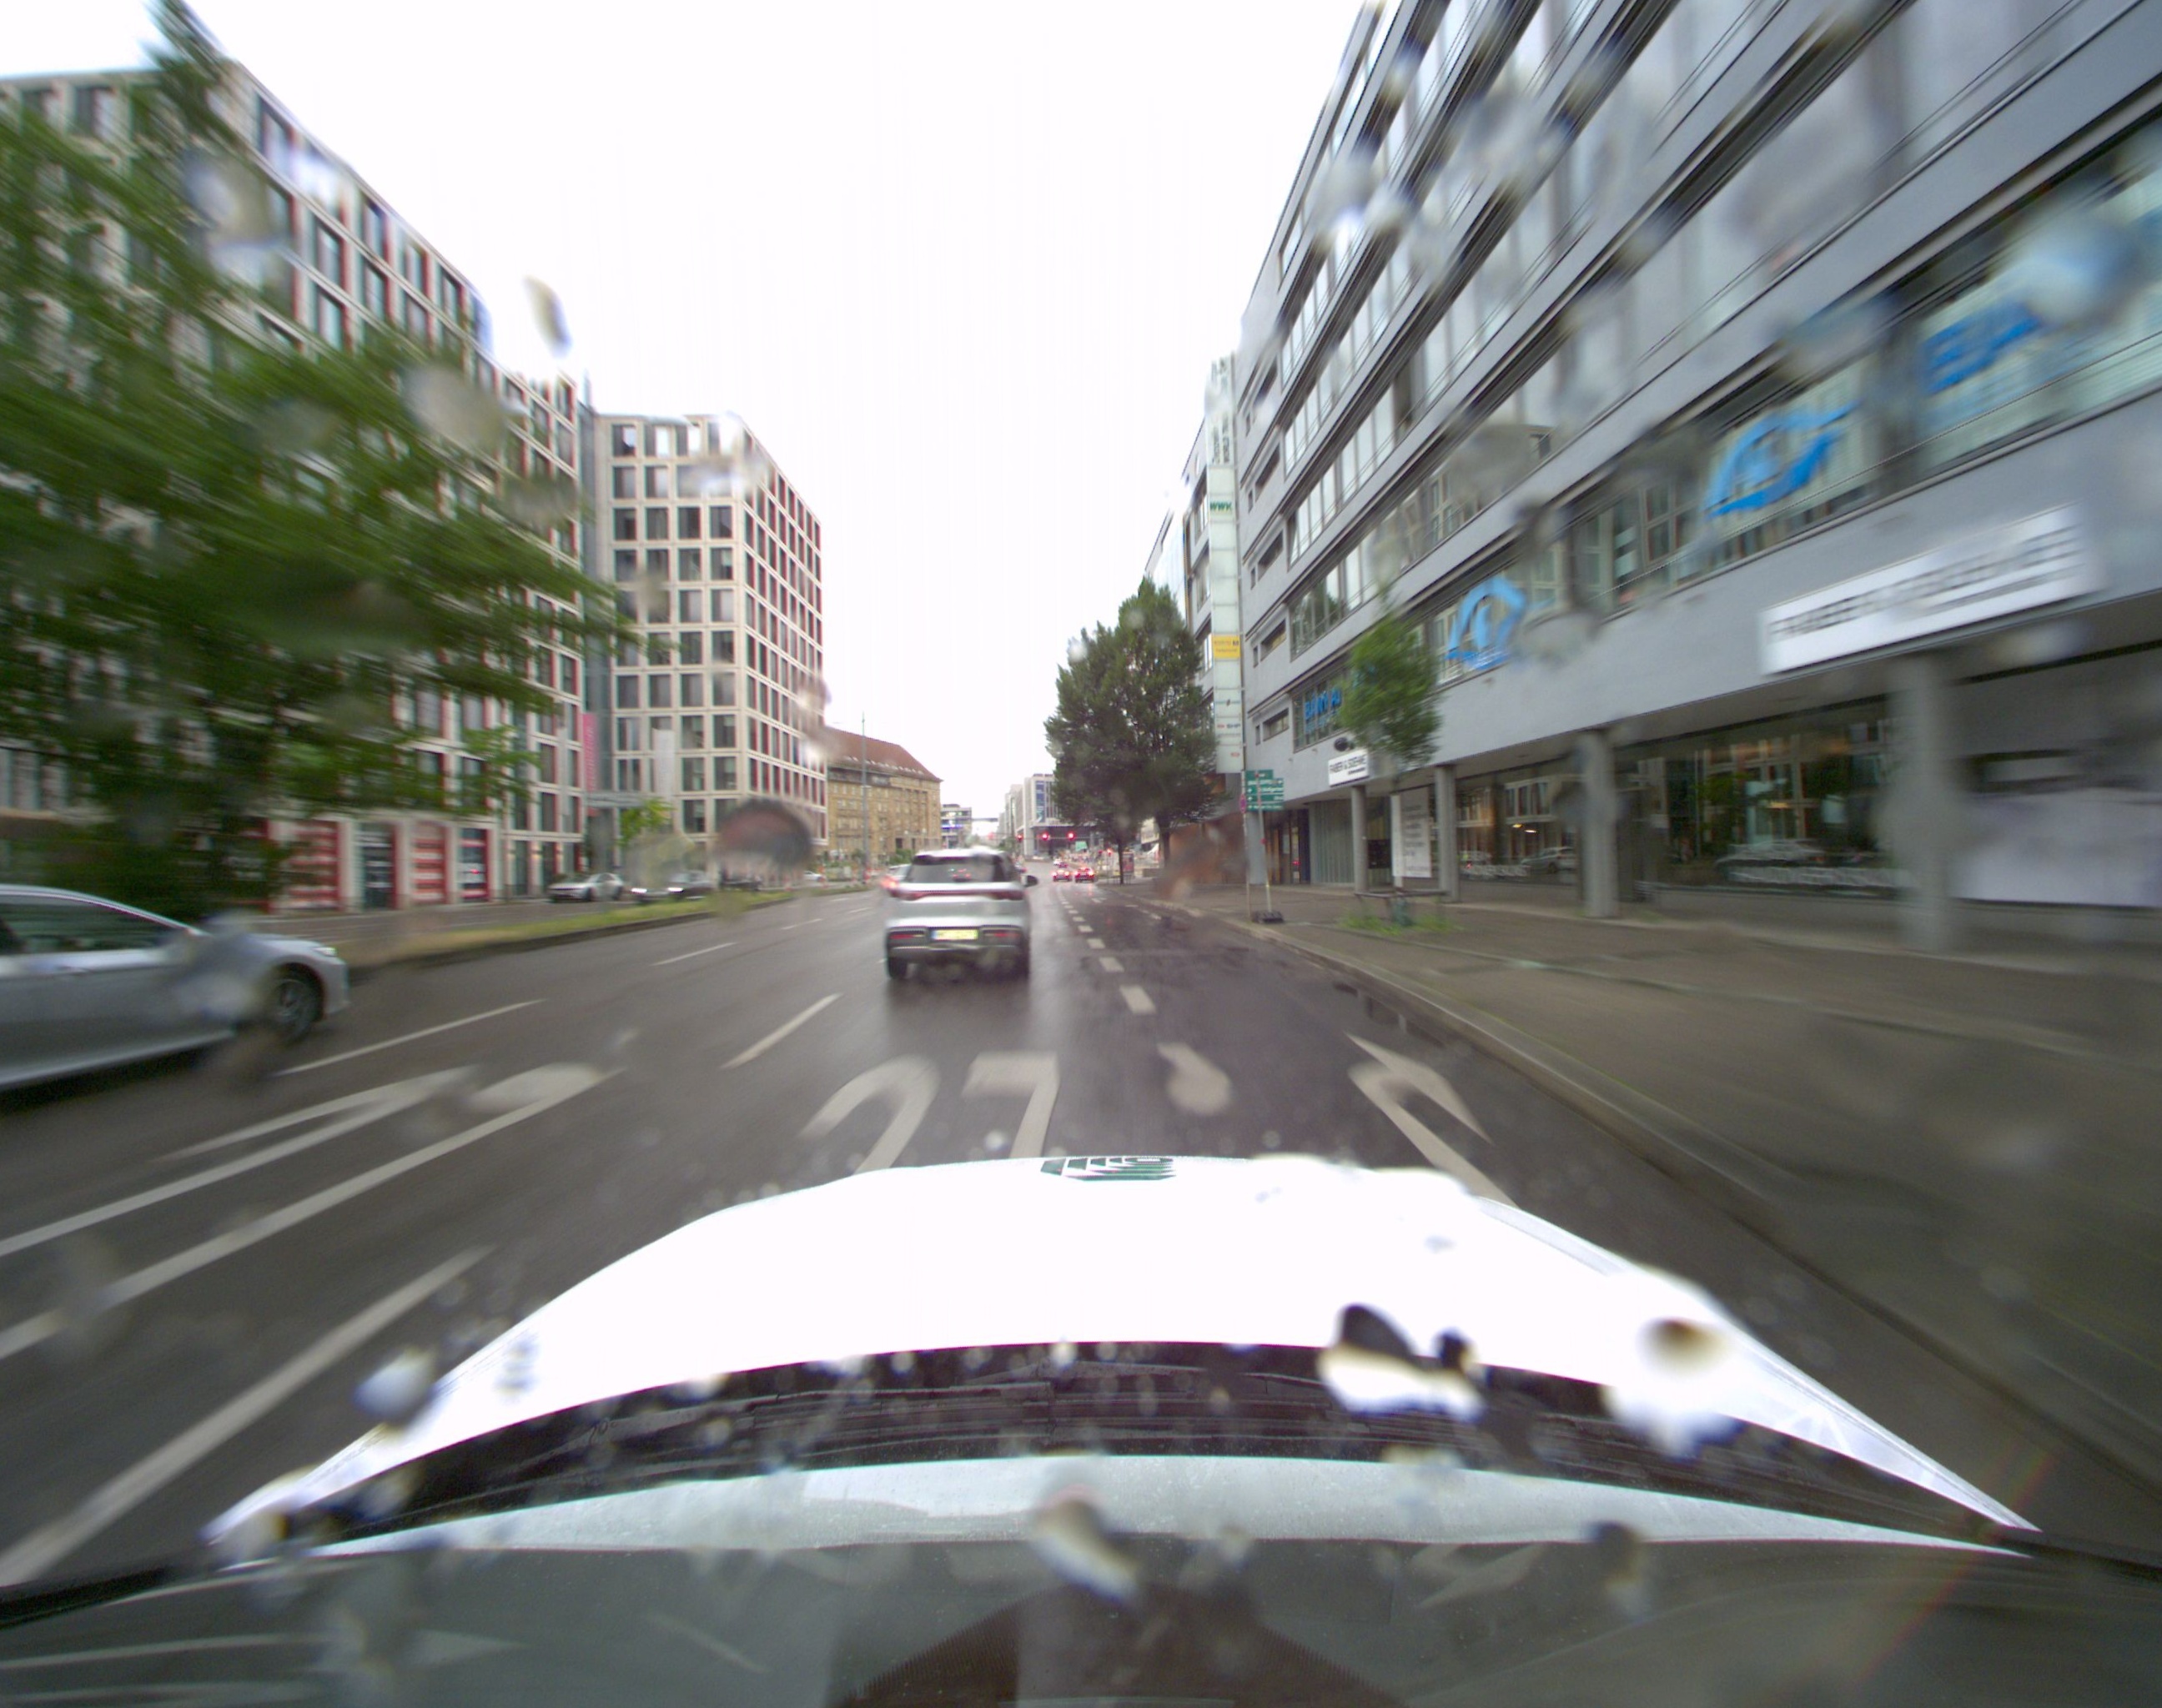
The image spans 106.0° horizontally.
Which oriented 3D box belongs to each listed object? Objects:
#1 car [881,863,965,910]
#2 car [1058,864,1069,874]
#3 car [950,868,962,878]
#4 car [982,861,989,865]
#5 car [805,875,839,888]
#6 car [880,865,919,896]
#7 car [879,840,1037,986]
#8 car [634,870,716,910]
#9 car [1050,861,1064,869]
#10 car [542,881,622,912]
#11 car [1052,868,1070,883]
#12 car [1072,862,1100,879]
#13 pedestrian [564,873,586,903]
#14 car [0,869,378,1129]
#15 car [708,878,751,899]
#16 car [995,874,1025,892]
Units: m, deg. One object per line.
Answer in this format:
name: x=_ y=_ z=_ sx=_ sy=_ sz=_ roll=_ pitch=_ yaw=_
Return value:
car: x=-5.113 y=1.049 z=26.953 sx=1.726 sy=1.404 sz=4.385 roll=-1 pitch=-1 yaw=2
car: x=-3.626 y=3.047 z=166.787 sx=1.990 sy=2.014 sz=3.992 roll=-1 pitch=-1 yaw=-5
car: x=-21.778 y=3.314 z=141.898 sx=1.798 sy=1.574 sz=4.068 roll=-1 pitch=-1 yaw=-4
car: x=-30.156 y=2.866 z=257.947 sx=1.763 sy=1.260 sz=4.191 roll=-1 pitch=-1 yaw=-2
car: x=-36.206 y=3.805 z=113.876 sx=4.393 sy=1.662 sz=1.987 roll=-1 pitch=-2 yaw=-19
car: x=-9.884 y=1.431 z=44.497 sx=1.732 sy=1.616 sz=3.988 roll=-1 pitch=-1 yaw=-8
car: x=-1.581 y=0.725 z=11.557 sx=1.805 sy=1.661 sz=4.163 roll=-1 pitch=-1 yaw=-5
car: x=-18.291 y=1.581 z=36.967 sx=1.824 sy=1.632 sz=4.862 roll=-1 pitch=-1 yaw=-7
car: x=-5.770 y=2.607 z=194.944 sx=2.002 sy=1.816 sz=3.970 roll=0 pitch=-2 yaw=-22
car: x=-27.010 y=2.291 z=44.268 sx=1.693 sy=1.424 sz=4.370 roll=-3 pitch=-1 yaw=-2
car: x=-2.131 y=2.380 z=89.728 sx=1.777 sy=1.402 sz=4.487 roll=-1 pitch=1 yaw=1
car: x=0.528 y=1.606 z=80.159 sx=1.878 sy=1.544 sz=4.007 roll=-1 pitch=-1 yaw=13
pedestrian: x=-30.132 y=2.032 z=48.521 sx=0.608 sy=1.734 sz=0.971 roll=-1 pitch=-2 yaw=15
car: x=-7.273 y=0.871 z=5.078 sx=1.827 sy=1.521 sz=4.793 roll=-1 pitch=-1 yaw=-4
car: x=-27.750 y=2.687 z=64.381 sx=1.693 sy=1.424 sz=3.952 roll=-3 pitch=-1 yaw=-2
car: x=-6.363 y=2.586 z=73.291 sx=1.878 sy=1.515 sz=5.008 roll=-1 pitch=-1 yaw=5
